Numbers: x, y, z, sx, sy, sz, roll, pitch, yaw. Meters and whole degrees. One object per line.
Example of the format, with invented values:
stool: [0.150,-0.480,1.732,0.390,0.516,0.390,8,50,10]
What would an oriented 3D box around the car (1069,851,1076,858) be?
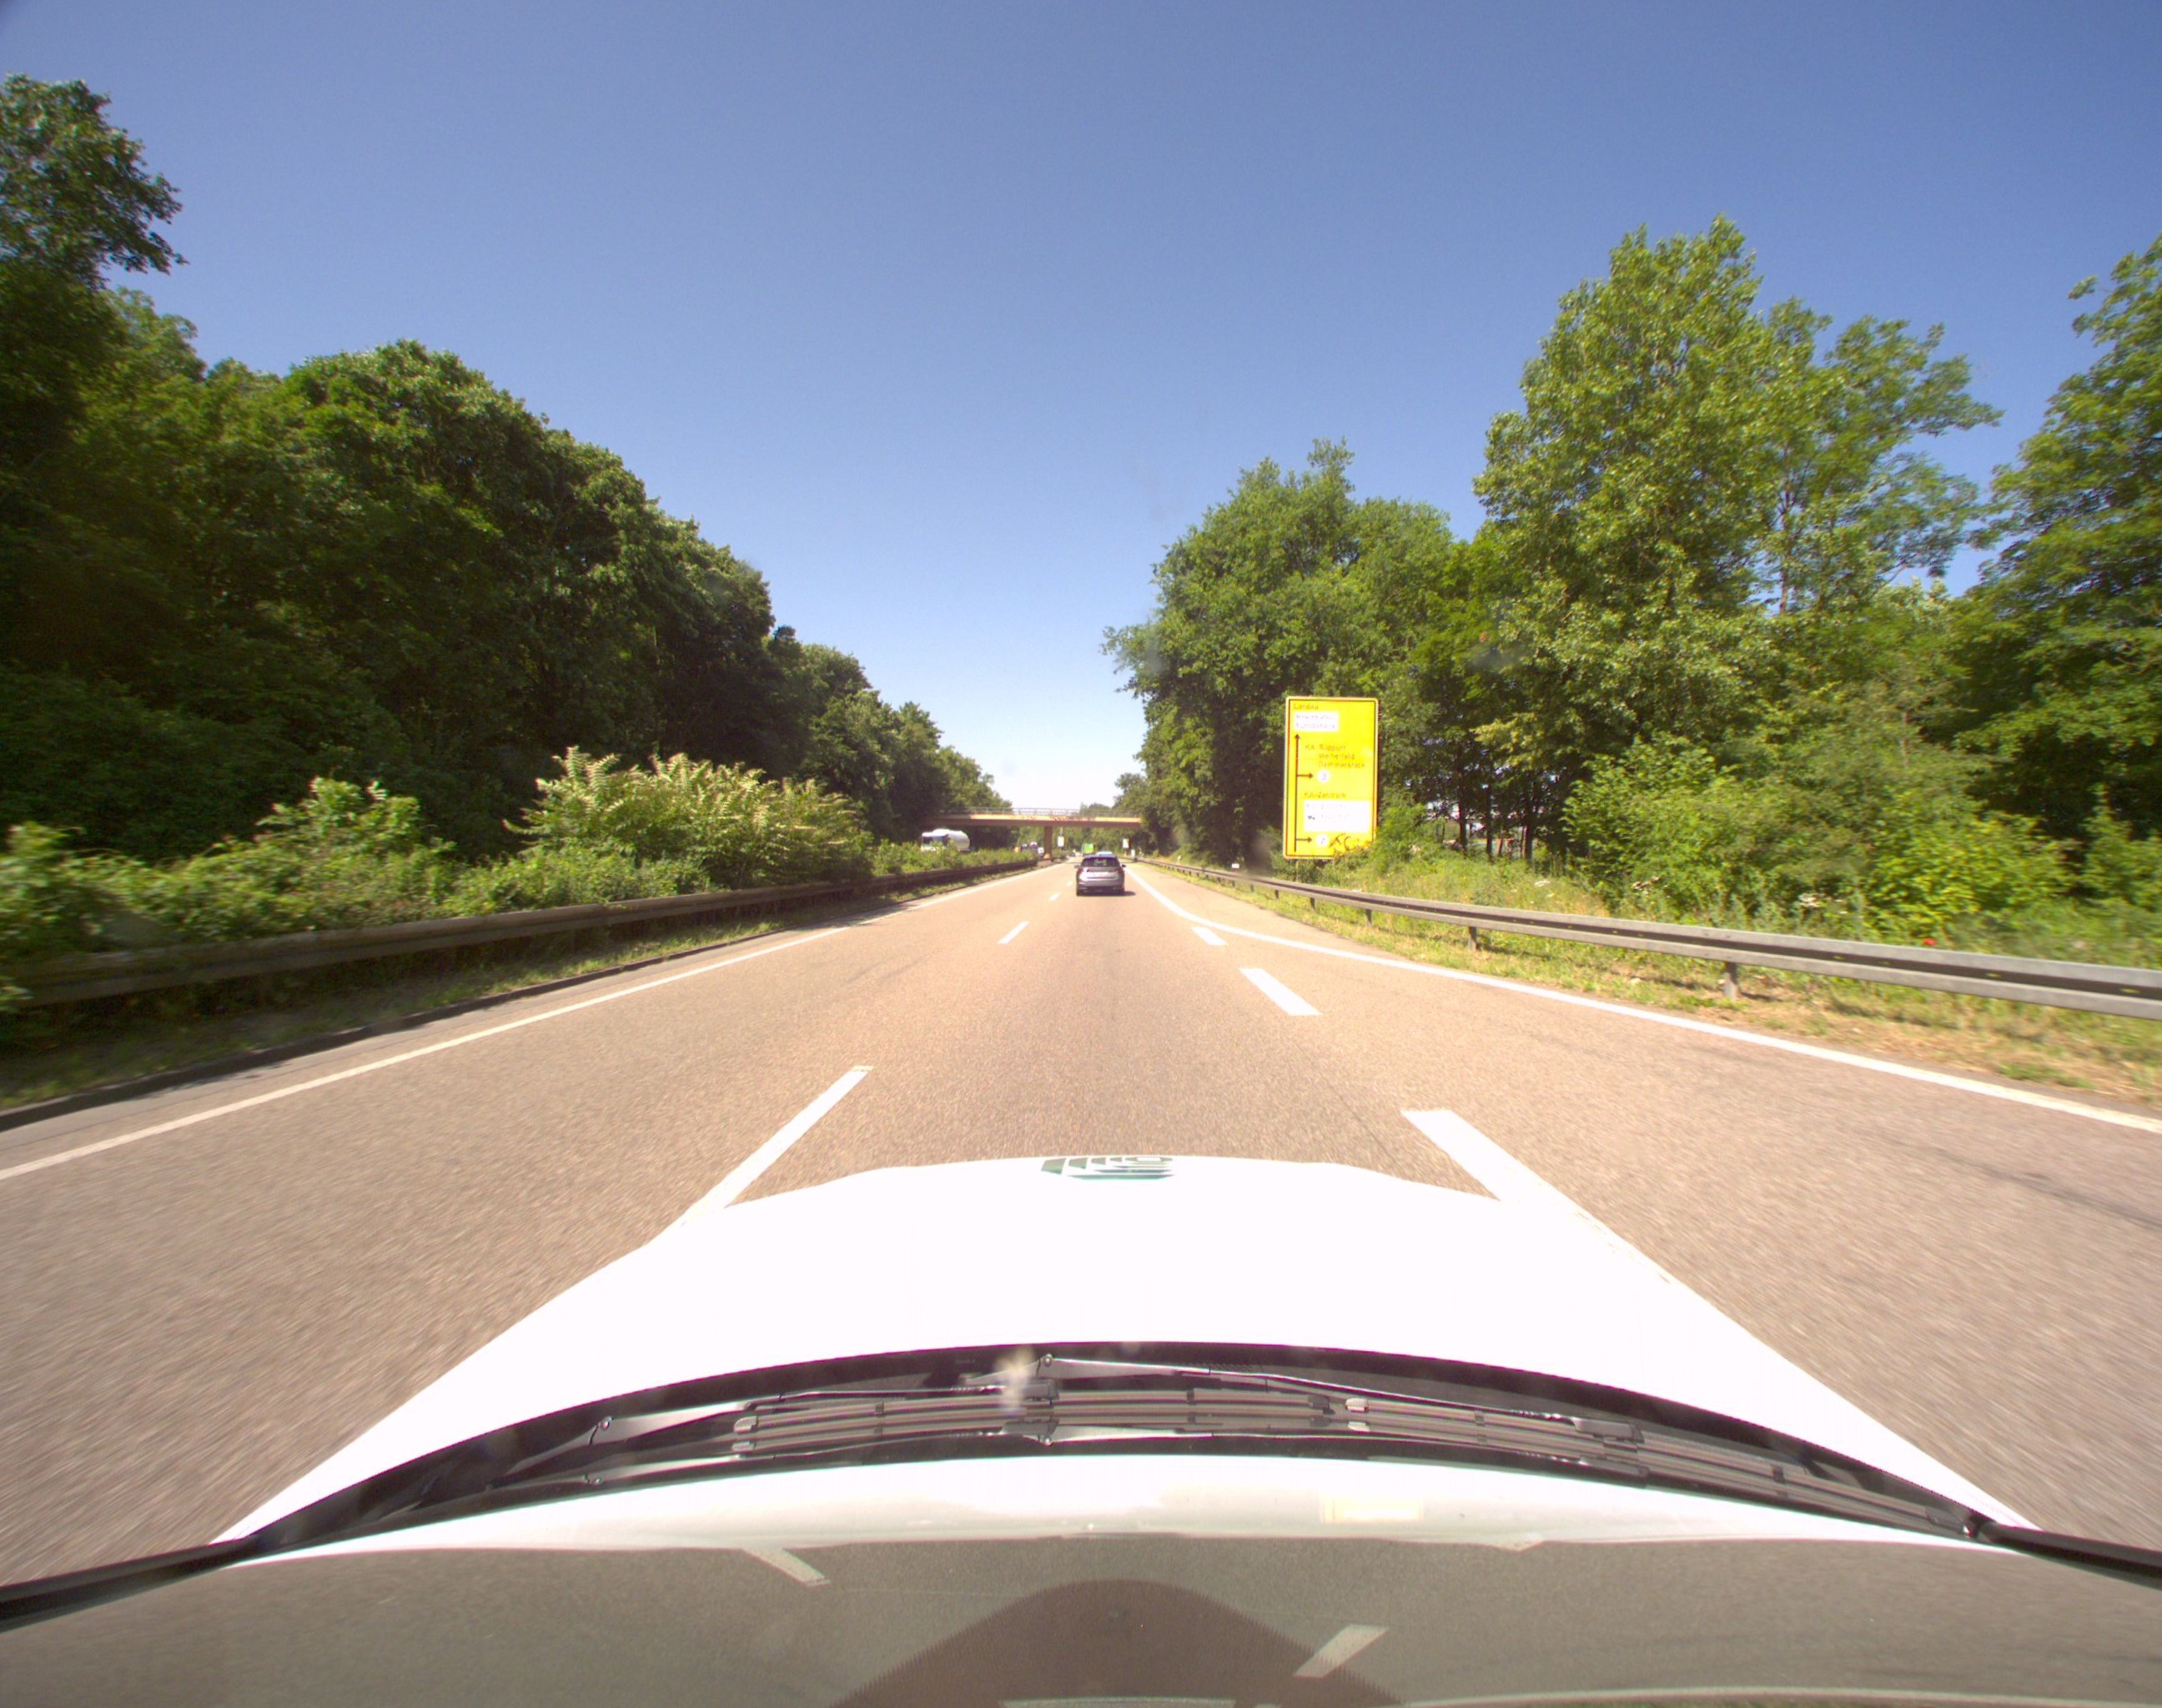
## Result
car: [-2.625,0.095,242.682,1.986,2.013,4.002,0,0,2]

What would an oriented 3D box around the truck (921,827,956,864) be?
truck: [-13.202,-0.773,75.621,2.329,3.342,4.544,0,0,2]

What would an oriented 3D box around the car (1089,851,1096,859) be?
car: [2.930,0.278,208.433,1.757,2.013,3.589,0,0,2]

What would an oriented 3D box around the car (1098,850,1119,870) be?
car: [2.112,0.420,61.670,1.516,1.446,3.343,0,0,3]

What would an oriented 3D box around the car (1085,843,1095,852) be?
car: [2.649,-1.901,238.429,2.738,2.654,4.002,0,0,2]

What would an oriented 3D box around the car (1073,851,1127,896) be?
car: [0.748,0.656,29.419,1.832,1.472,3.627,0,0,3]

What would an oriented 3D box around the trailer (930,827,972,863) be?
trailer: [-12.999,-0.855,82.296,1.986,3.402,11.424,0,0,2]
